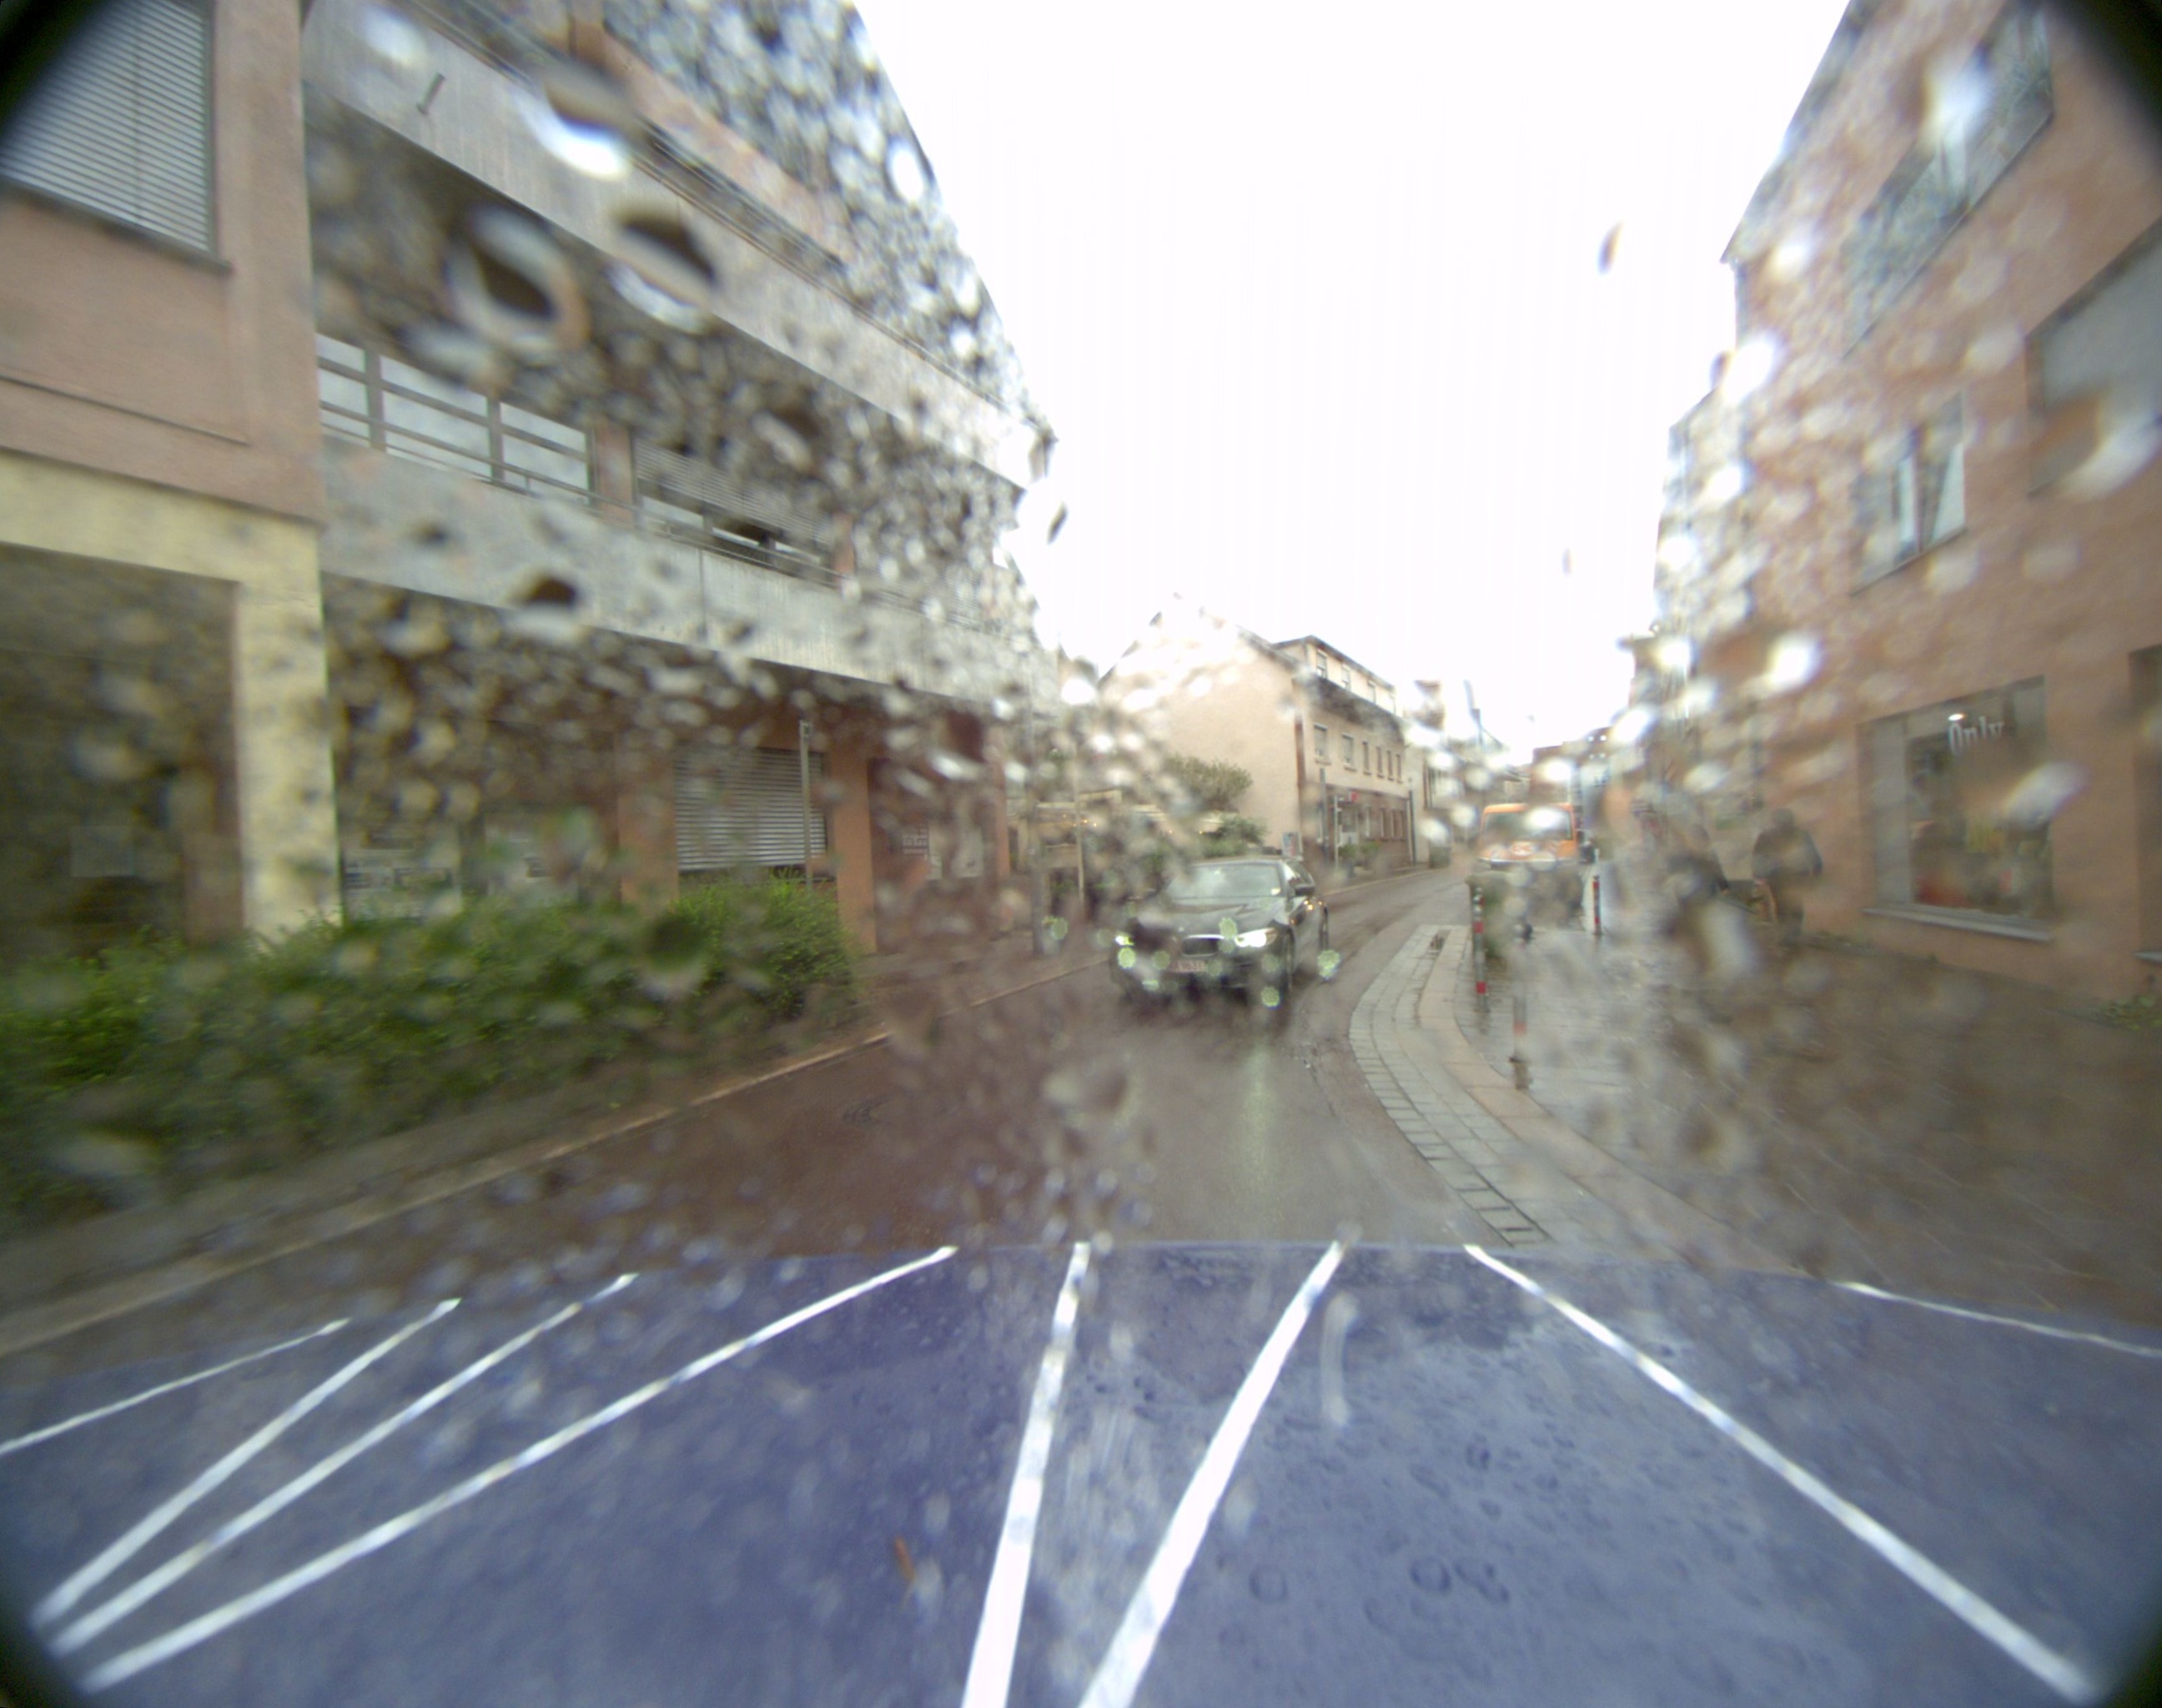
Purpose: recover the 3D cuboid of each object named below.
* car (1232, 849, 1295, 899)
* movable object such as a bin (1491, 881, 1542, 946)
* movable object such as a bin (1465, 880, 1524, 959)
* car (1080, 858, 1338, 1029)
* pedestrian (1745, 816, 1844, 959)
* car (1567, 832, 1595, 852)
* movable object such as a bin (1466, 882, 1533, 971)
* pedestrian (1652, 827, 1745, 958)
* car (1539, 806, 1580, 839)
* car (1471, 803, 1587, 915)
[{"bbox_3d":[5.723,0.569,24.072,1.736,1.349,3.939,-2,1,12],"label":"car"},{"bbox_3d":[6.549,0.892,11.419,0.582,0.921,0.482,-4,0,35],"label":"movable object such as a bin"},{"bbox_3d":[5.735,0.900,10.564,0.657,1.031,0.611,-2,1,25],"label":"movable object such as a bin"},{"bbox_3d":[1.832,0.859,9.232,1.944,1.394,4.426,-2,1,25],"label":"car"},{"bbox_3d":[8.925,0.407,9.535,0.623,1.702,0.810,-4,0,27],"label":"pedestrian"},{"bbox_3d":[37.884,-0.900,57.526,1.629,1.359,3.495,-3,0,35],"label":"car"},{"bbox_3d":[5.209,0.893,9.495,0.657,1.031,0.611,-2,1,25],"label":"movable object such as a bin"},{"bbox_3d":[8.047,0.489,9.939,0.715,1.630,0.747,-4,0,27],"label":"pedestrian"},{"bbox_3d":[46.507,-2.963,73.685,2.705,2.857,8.862,-3,-1,36],"label":"car"},{"bbox_3d":[10.754,0.034,18.106,1.995,2.227,5.871,-2,1,33],"label":"car"}]
